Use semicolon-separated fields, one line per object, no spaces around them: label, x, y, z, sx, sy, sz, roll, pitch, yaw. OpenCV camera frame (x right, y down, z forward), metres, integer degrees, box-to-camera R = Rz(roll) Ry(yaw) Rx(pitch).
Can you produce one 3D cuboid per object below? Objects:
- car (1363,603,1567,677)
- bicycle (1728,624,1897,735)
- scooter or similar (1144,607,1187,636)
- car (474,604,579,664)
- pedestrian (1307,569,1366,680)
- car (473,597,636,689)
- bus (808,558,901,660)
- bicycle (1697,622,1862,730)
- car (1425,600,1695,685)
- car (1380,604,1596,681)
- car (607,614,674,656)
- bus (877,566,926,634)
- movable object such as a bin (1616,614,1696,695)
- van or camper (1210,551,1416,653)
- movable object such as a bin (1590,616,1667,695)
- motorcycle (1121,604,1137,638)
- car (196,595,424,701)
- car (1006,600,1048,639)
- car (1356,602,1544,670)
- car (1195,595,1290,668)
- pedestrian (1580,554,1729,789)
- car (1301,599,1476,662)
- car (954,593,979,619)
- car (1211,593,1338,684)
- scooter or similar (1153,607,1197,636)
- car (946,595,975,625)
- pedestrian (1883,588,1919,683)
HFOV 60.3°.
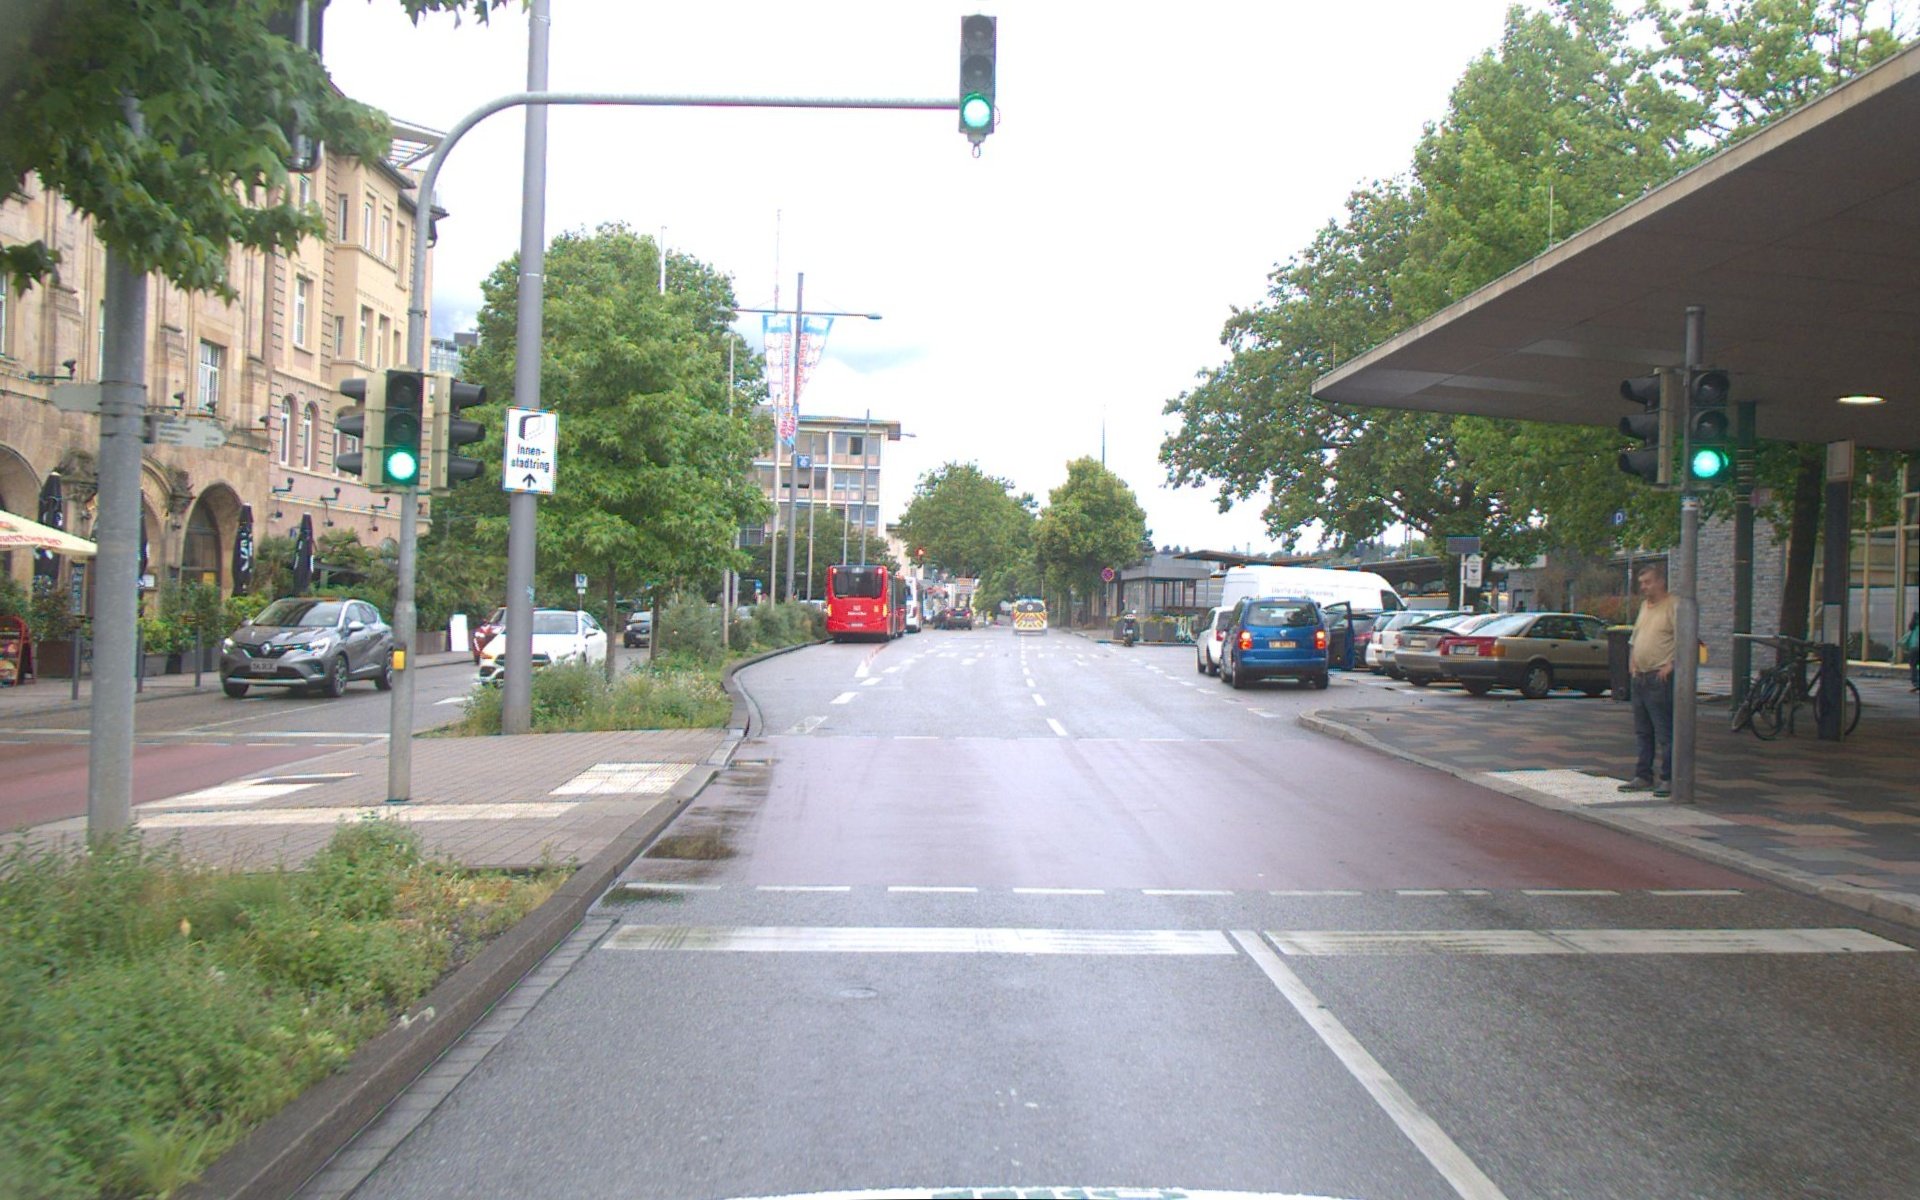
car;10.538;0.809;34.501;3.940;1.468;1.848;0;-1;-28
bicycle;8.855;0.807;17.173;1.800;1.074;0.418;-1;0;-19
scooter or similar;8.466;0.887;68.018;2.131;1.129;0.421;-1;0;-41
car;-11.259;0.857;43.191;1.711;1.455;3.952;-1;0;0
pedestrian;7.159;0.461;31.456;0.815;2.049;0.888;-1;0;-5
car;-7.571;0.763;31.337;1.953;1.570;4.632;-1;0;0
bus;-4.494;0.386;73.018;3.473;4.049;11.169;-1;0;-1
bicycle;8.740;0.793;17.619;1.800;1.074;0.418;-1;0;-19
car;10.142;0.694;27.982;4.125;1.348;1.829;0;-1;-21
car;10.120;0.787;31.646;3.947;1.383;1.845;0;-1;-32
car;-11.833;1.264;61.386;1.711;1.455;3.952;-1;0;0
bus;-3.534;-0.005;99.307;2.749;3.812;10.440;-1;0;-2
movable object such as a bin;9.728;0.751;23.135;0.737;1.086;0.747;-1;0;-10
van or camper;10.361;0.022;48.453;5.879;2.811;2.178;-1;0;-28
movable object such as a bin;9.797;0.802;24.243;0.738;1.114;0.746;-1;0;-13
motorcycle;6.647;0.806;65.273;0.582;1.310;1.954;-1;0;5
car;-10.625;0.738;27.426;1.953;1.570;4.632;-1;0;0
car;3.663;1.071;91.099;1.953;2.049;5.060;-1;0;-1
car;11.122;0.800;37.530;3.940;1.468;1.848;0;-1;-28
car;6.262;0.695;36.993;1.750;1.549;3.683;0;-1;4
pedestrian;5.432;0.542;12.979;0.732;1.777;0.834;0;-1;-9
car;10.422;0.728;40.199;3.940;1.468;1.848;0;-1;-28
car;0.520;0.464;134.084;1.953;2.049;3.999;-1;0;-1
car;5.828;0.705;31.029;1.820;1.596;4.001;0;-1;3
scooter or similar;8.807;0.874;67.657;2.131;1.129;0.437;-1;0;-41
car;0.015;0.737;118.555;1.953;2.049;3.999;-1;0;-1
pedestrian;16.400;0.593;28.168;0.849;1.586;0.813;-1;0;-8
